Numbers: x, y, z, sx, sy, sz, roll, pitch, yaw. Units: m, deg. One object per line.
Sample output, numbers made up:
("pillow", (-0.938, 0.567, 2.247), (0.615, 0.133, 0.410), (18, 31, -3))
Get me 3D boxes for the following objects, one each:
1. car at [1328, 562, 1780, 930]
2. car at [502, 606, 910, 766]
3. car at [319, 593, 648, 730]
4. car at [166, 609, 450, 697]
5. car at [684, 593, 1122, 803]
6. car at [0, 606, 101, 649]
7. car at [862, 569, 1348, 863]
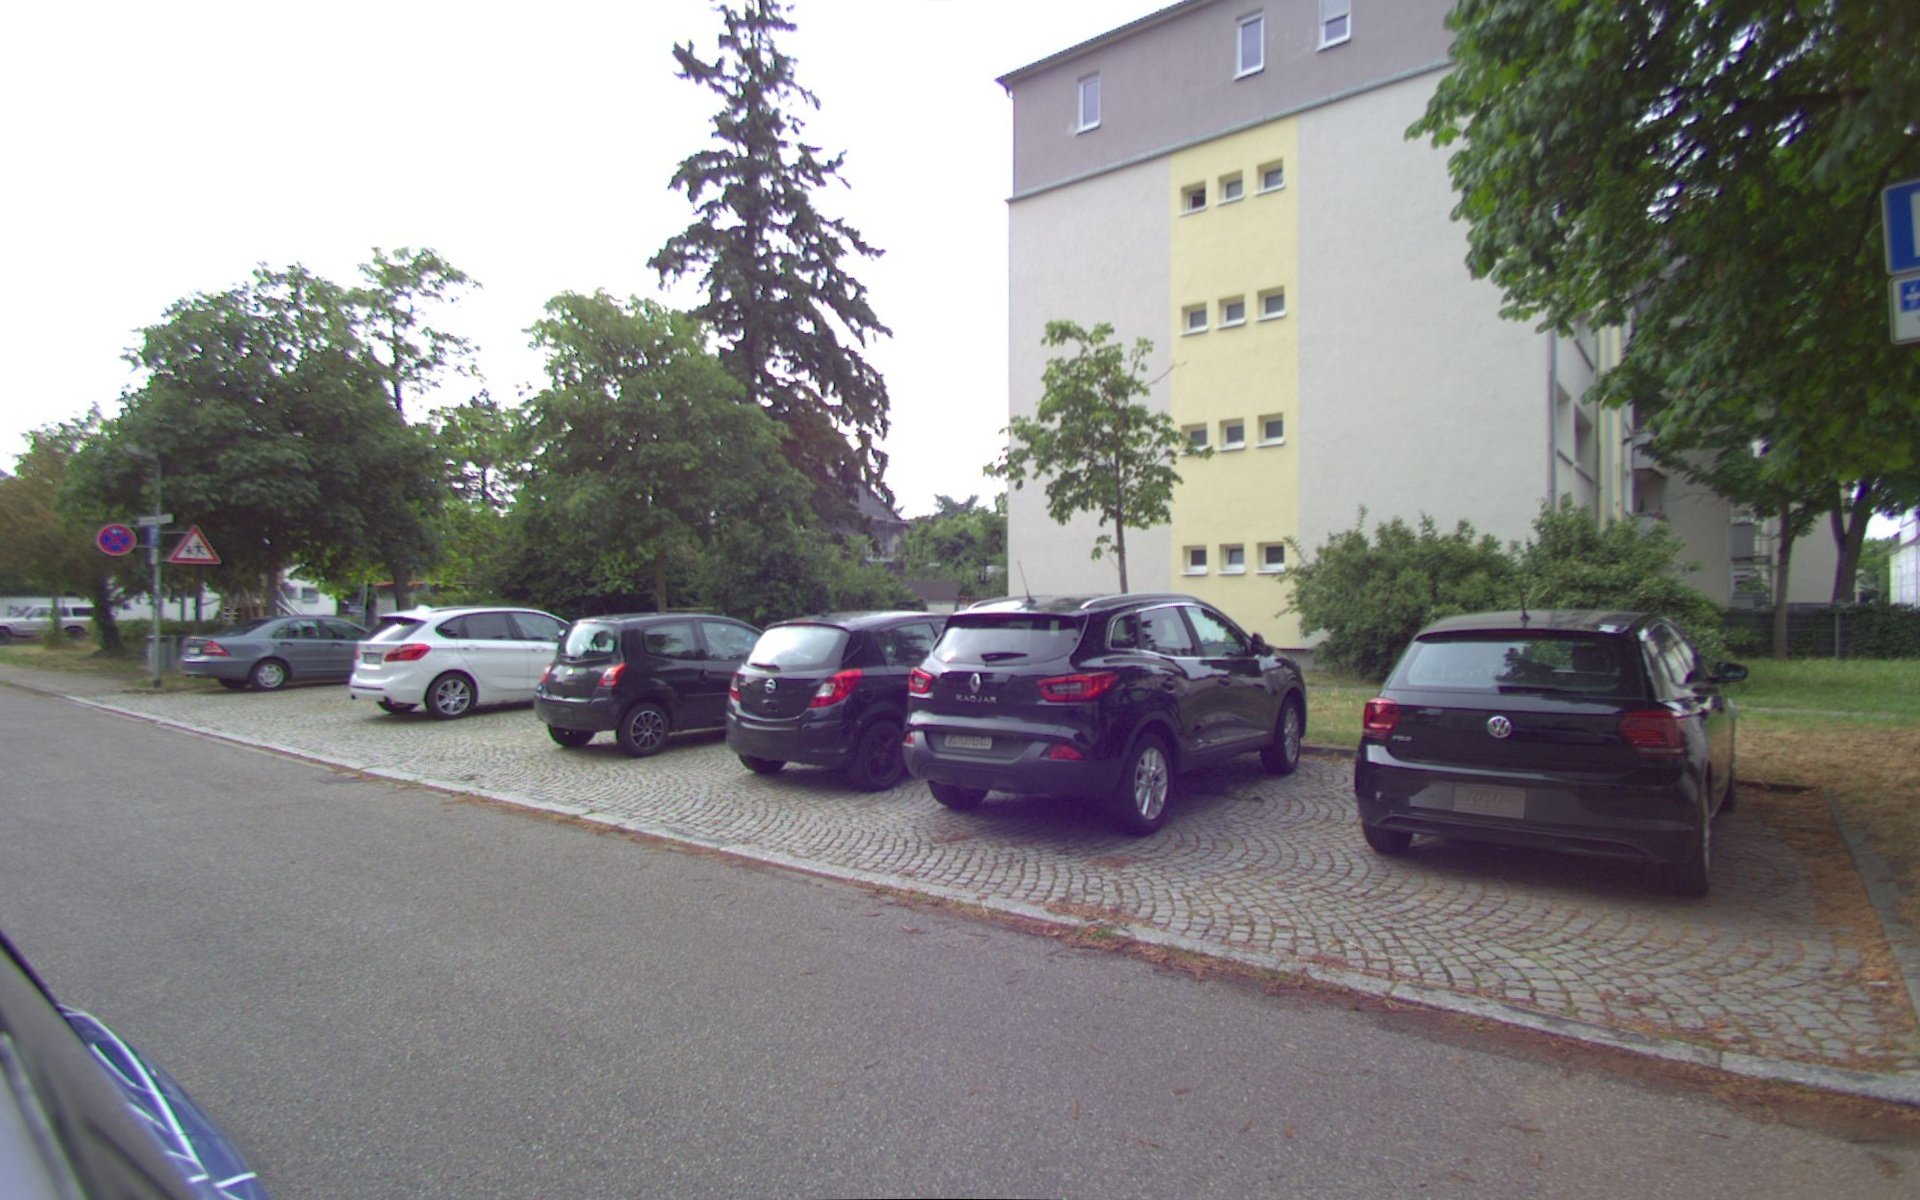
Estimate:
("car", (3.957, 0.658, 6.430), (1.829, 1.589, 3.790), (-2, -1, 40))
("car", (-2.831, 0.853, 12.147), (1.841, 1.474, 4.497), (-1, 0, 42))
("car", (-7.081, 0.792, 15.407), (1.882, 1.572, 4.097), (1, 4, 38))
("car", (-12.885, 0.971, 20.303), (1.675, 1.465, 4.508), (-1, 0, 33))
("car", (-0.353, 0.751, 10.022), (1.841, 1.577, 4.297), (-1, 0, 42))
("car", (-43.583, 1.271, 47.656), (1.995, 1.873, 4.442), (2, 1, 34))
("car", (1.355, 0.649, 8.020), (1.916, 1.710, 4.012), (-1, 0, 42))
